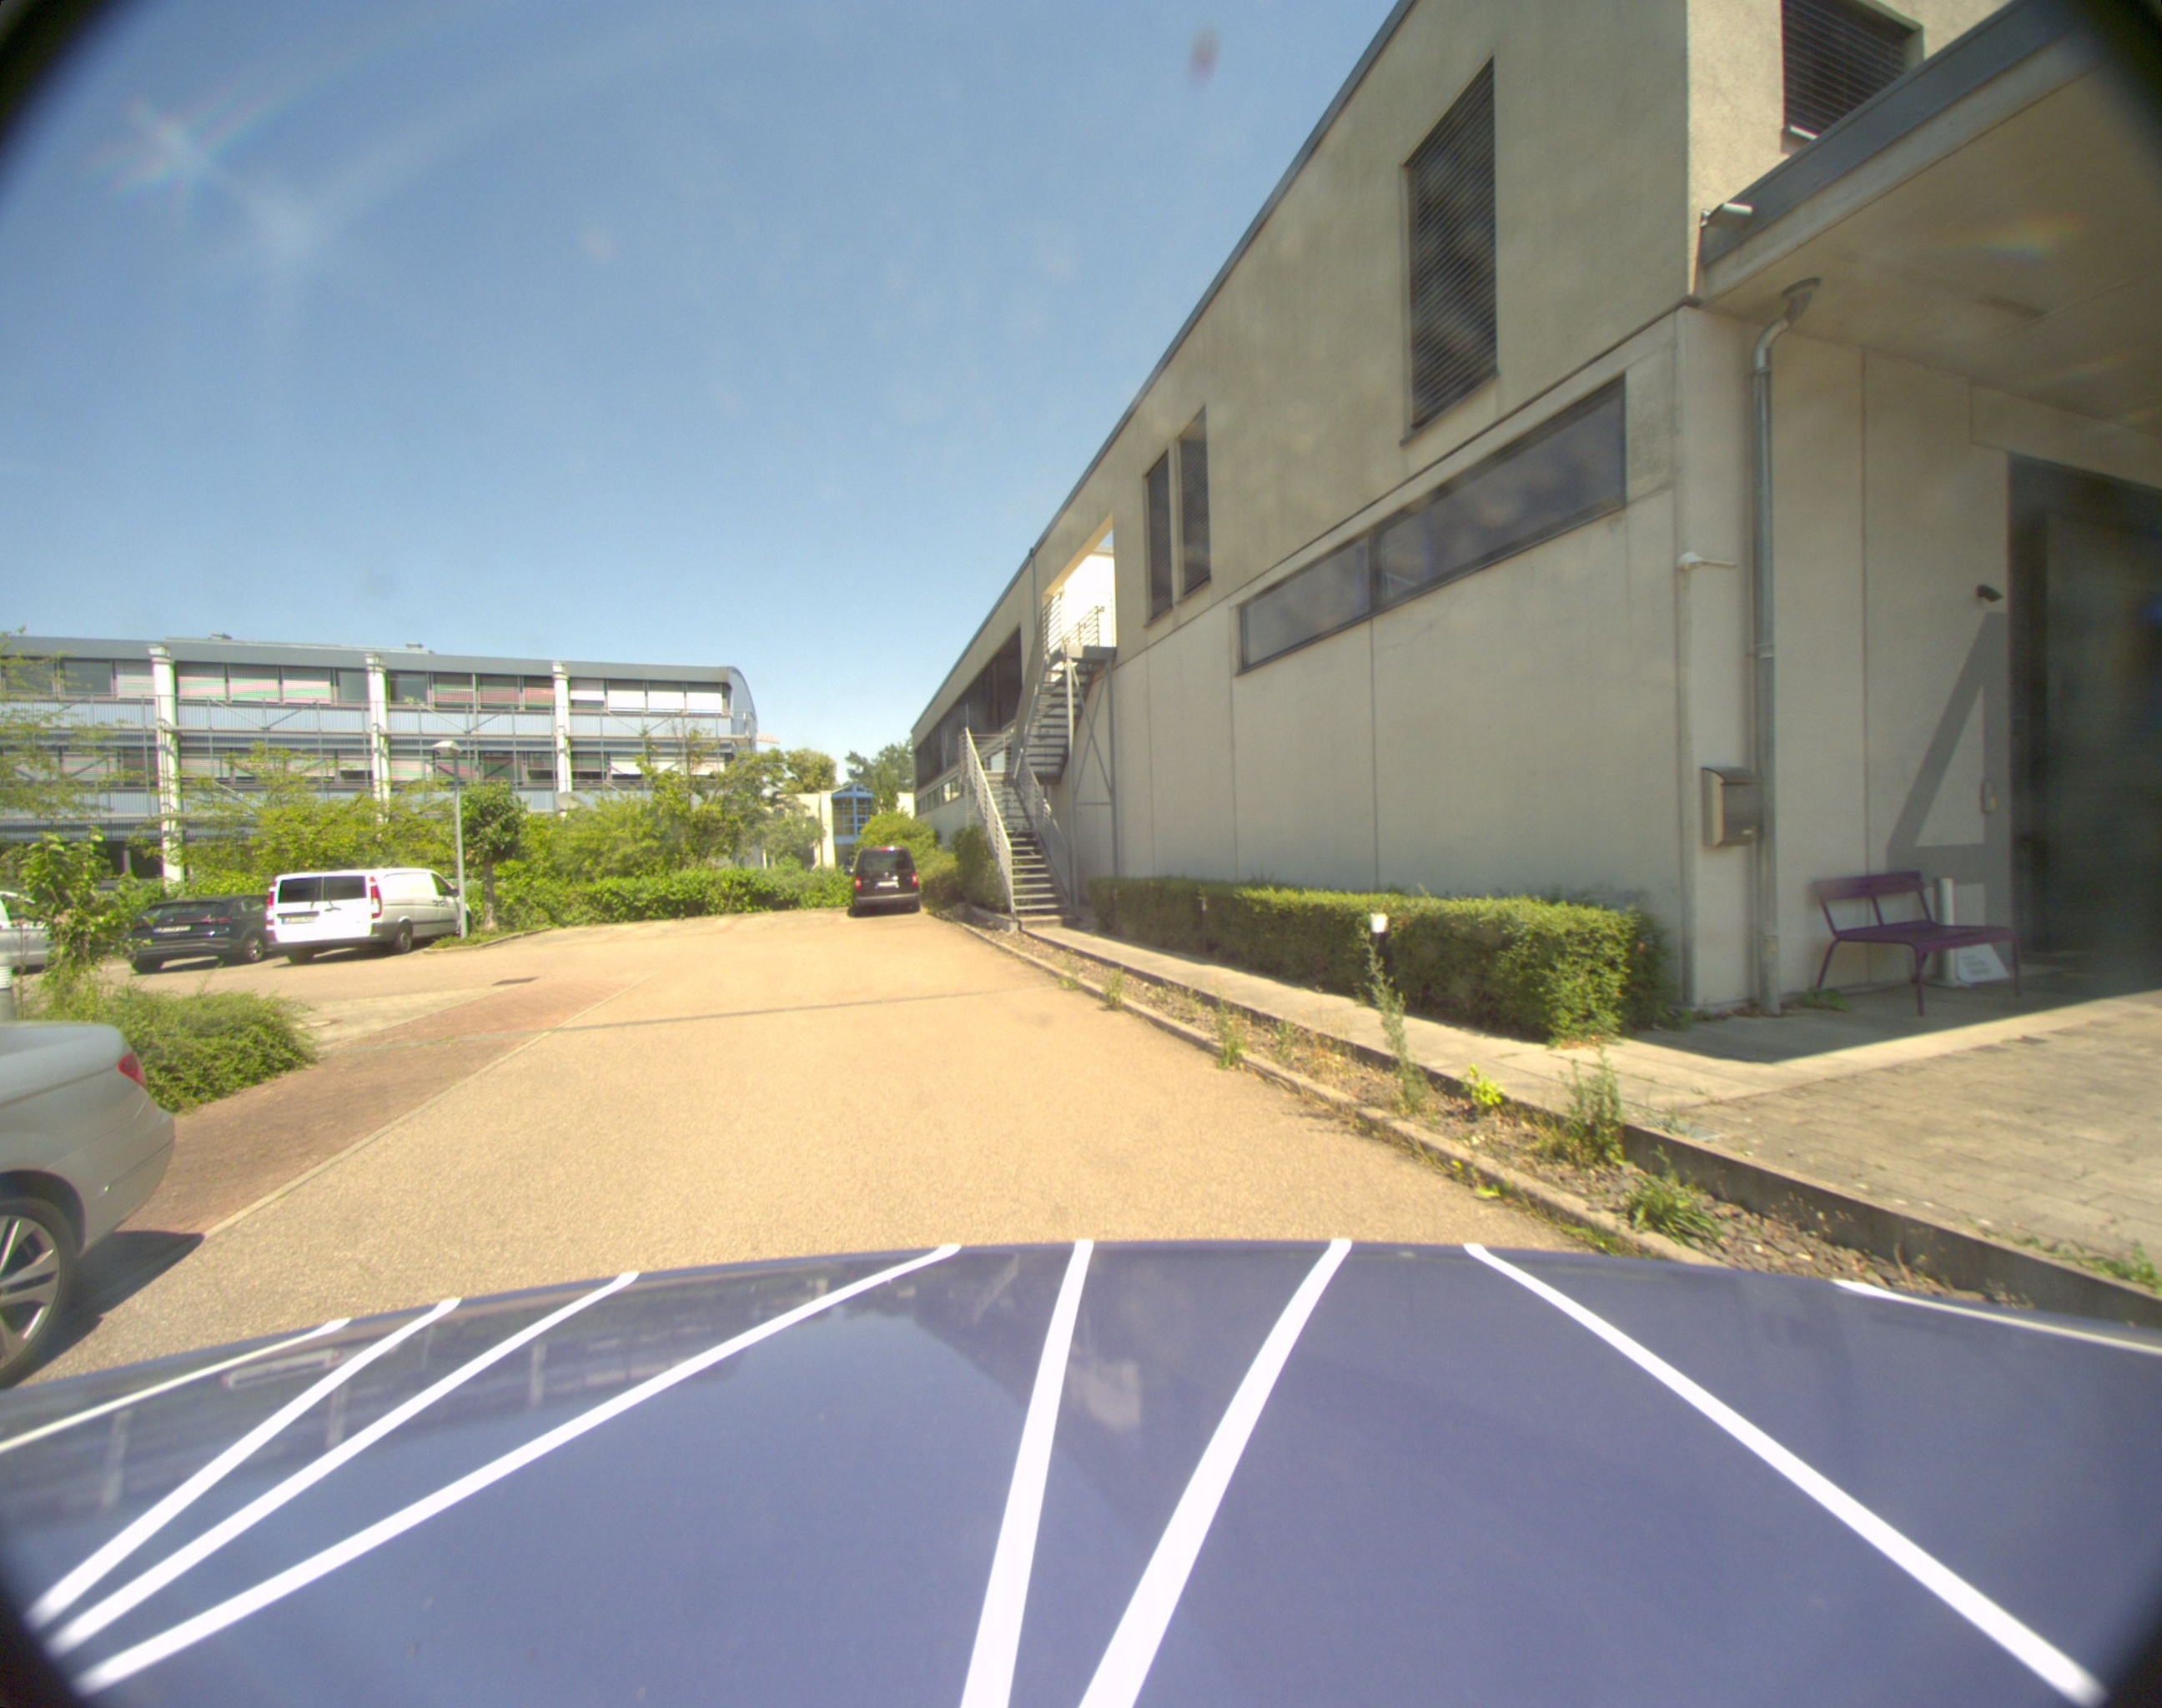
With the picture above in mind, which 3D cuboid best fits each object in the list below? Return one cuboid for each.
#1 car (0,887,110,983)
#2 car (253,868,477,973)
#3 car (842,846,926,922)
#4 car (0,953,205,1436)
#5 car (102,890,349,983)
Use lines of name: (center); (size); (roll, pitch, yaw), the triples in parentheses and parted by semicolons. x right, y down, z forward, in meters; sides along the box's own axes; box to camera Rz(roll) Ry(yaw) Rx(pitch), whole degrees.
car: (-22.889, 1.762, 15.067); (1.858, 1.845, 4.927); (-4, 1, -17)
car: (-16.005, 1.356, 17.380); (1.870, 1.849, 4.669); (-4, 1, -19)
car: (-5.711, 0.760, 21.683); (1.870, 1.849, 4.221); (-4, 1, -19)
car: (-3.820, 1.132, 0.651); (1.806, 1.390, 4.413); (-3, 1, -15)
car: (-18.633, 1.699, 16.880); (1.741, 1.475, 4.191); (-4, 1, -19)
